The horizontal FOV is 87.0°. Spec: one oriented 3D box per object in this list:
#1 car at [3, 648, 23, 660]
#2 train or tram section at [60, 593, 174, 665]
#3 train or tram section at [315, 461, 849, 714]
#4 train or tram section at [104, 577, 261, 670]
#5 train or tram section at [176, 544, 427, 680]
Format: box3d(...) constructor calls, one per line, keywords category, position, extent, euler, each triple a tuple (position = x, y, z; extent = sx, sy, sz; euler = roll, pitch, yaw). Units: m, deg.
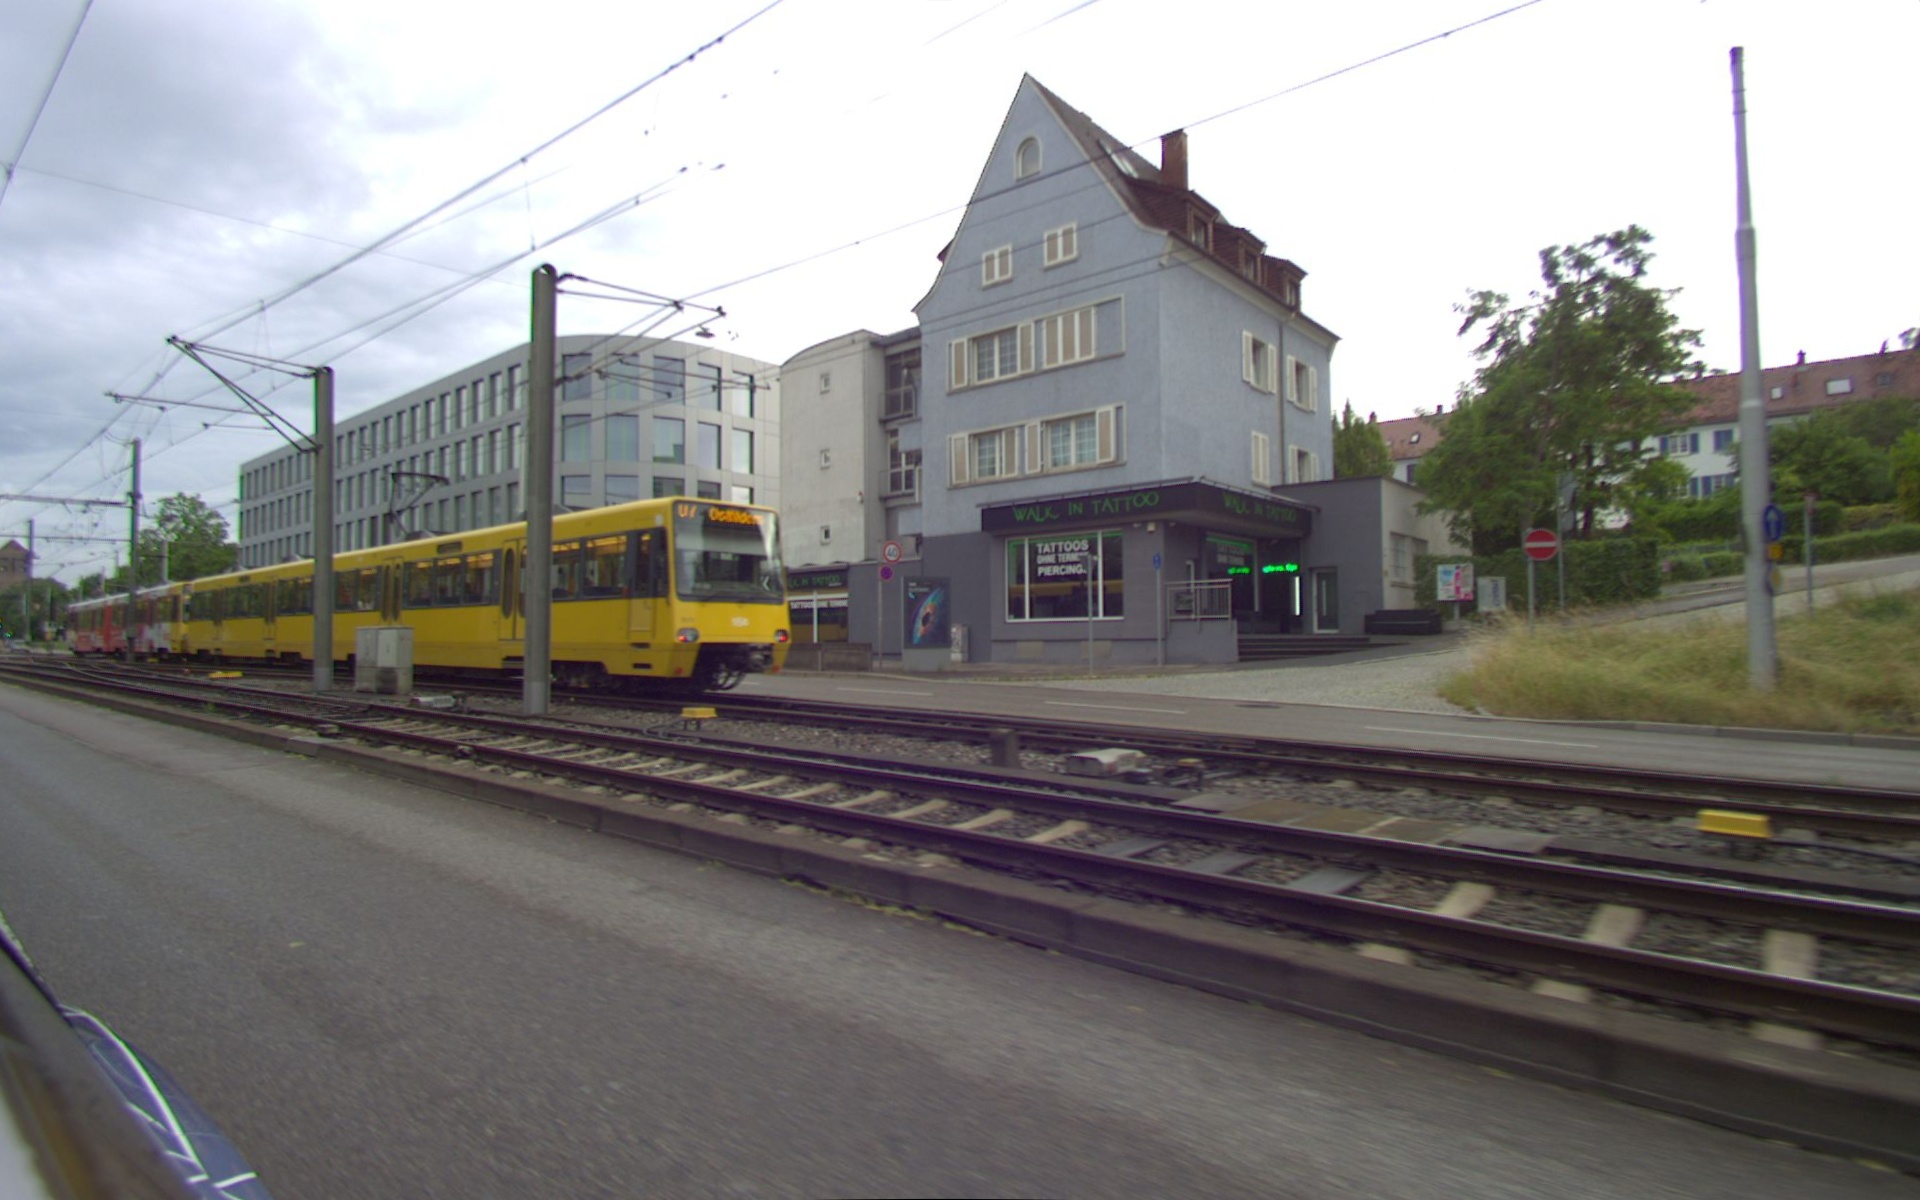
box3d(category="car", position=(-135.089, 7.679, 144.379), extent=(3.562, 1.649, 1.788), euler=(-3, -3, 41))
box3d(category="train or tram section", position=(-51.726, 1.890, 61.710), extent=(18.612, 3.840, 2.935), euler=(-3, -3, 43))
box3d(category="train or tram section", position=(-10.068, 0.145, 23.069), extent=(19.517, 3.840, 2.935), euler=(-3, -3, 43))
box3d(category="train or tram section", position=(-38.075, 1.283, 49.038), extent=(18.612, 3.840, 2.935), euler=(-3, -3, 43))
box3d(category="train or tram section", position=(-24.230, 0.674, 36.229), extent=(19.096, 3.840, 2.935), euler=(-3, -3, 43))
